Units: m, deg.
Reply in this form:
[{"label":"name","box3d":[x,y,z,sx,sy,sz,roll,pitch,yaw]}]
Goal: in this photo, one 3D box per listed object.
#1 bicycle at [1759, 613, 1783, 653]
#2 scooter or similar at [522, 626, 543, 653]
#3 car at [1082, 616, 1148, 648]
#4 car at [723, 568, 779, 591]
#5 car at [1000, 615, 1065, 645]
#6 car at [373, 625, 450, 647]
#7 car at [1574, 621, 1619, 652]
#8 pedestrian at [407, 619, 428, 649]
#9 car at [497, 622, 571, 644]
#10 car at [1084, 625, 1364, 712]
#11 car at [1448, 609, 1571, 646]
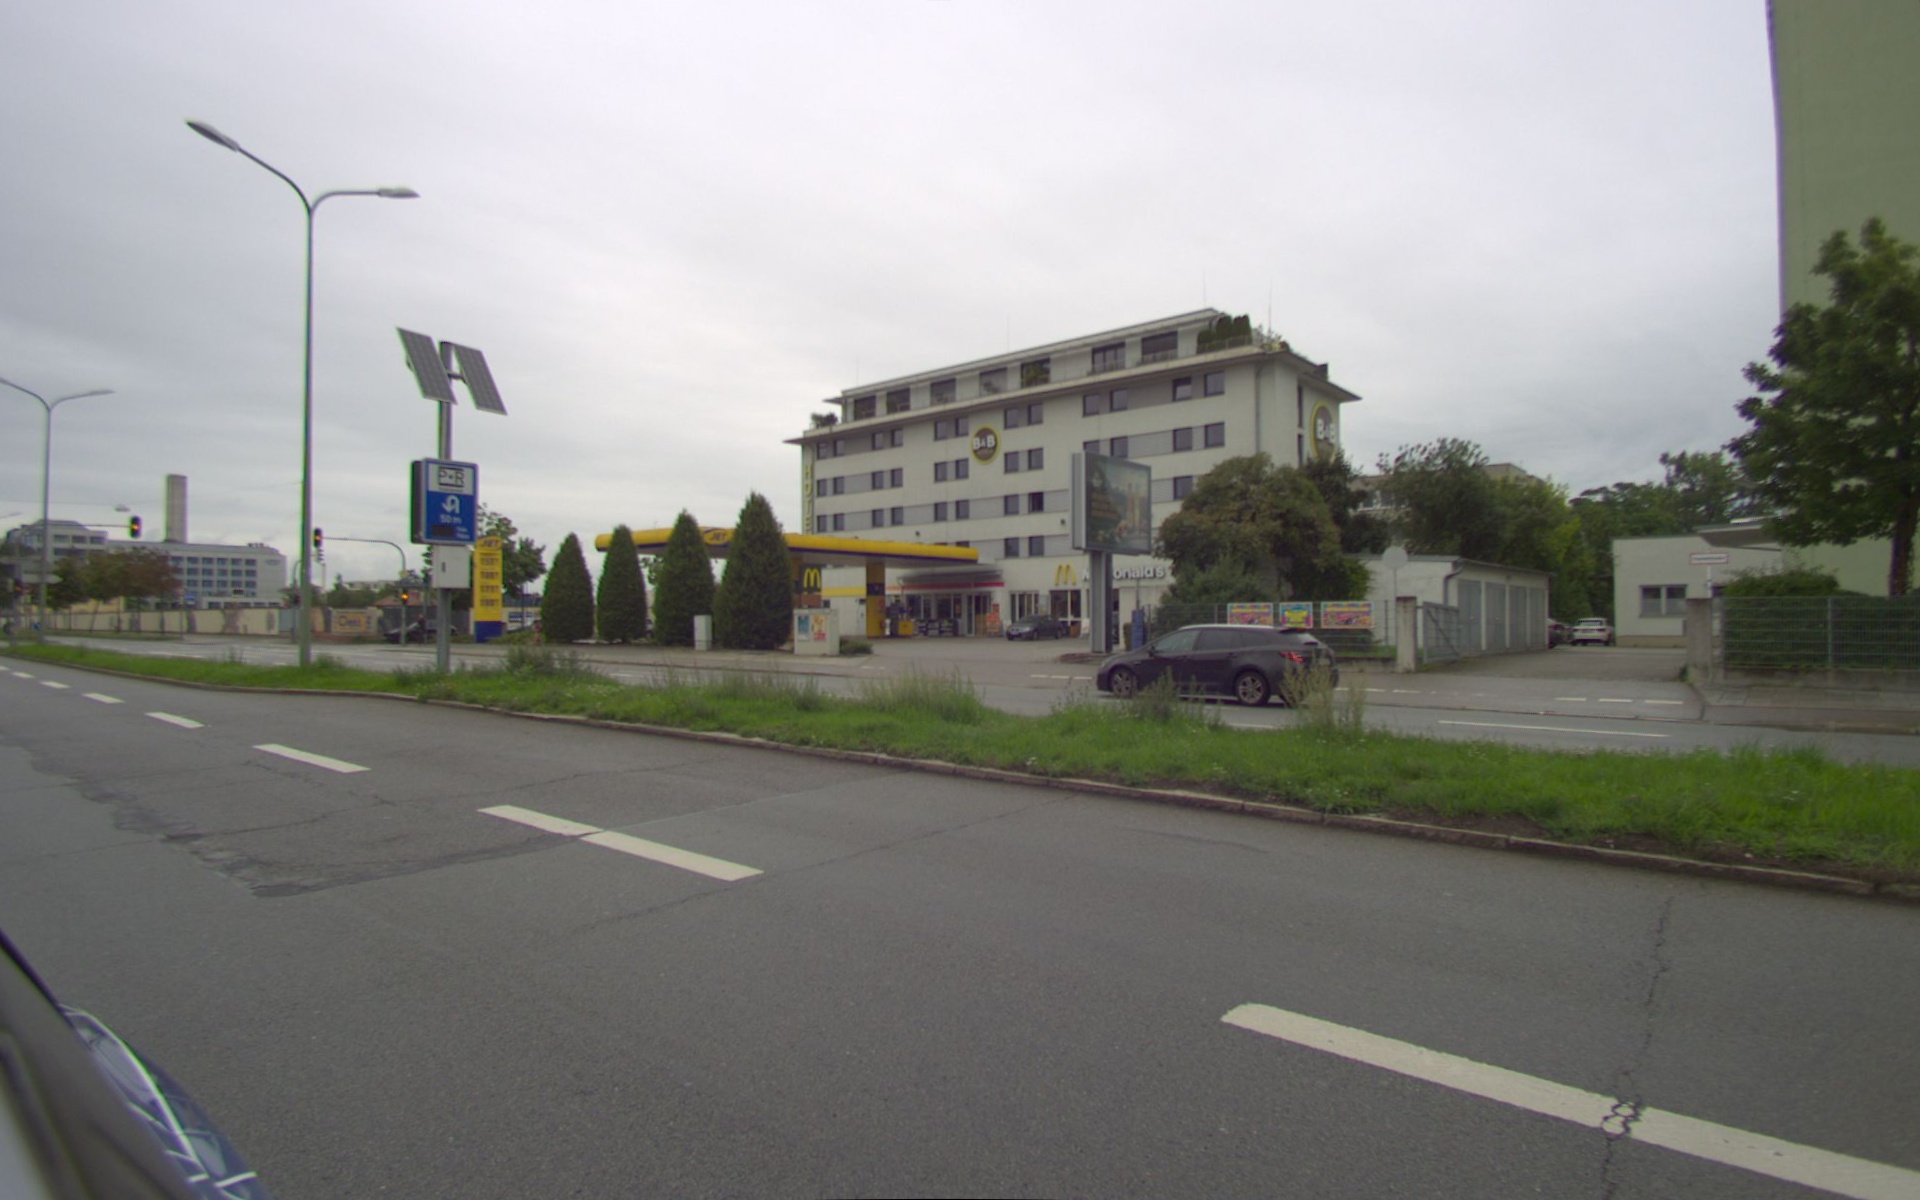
[{"label":"bicycle","box3d":[23.793,0.975,29.693,0.449,1.125,2.090,-2,-3,41]},{"label":"scooter or similar","box3d":[-20.495,1.890,48.548,0.351,1.252,1.546,-2,0,-44]},{"label":"car","box3d":[8.209,1.667,53.262,1.705,1.599,3.948,-1,-2,39]},{"label":"car","box3d":[-15.622,-1.480,75.576,4.190,1.489,1.883,-1,-3,41]},{"label":"car","box3d":[4.077,1.661,56.738,1.705,1.599,3.948,-1,-2,39]},{"label":"car","box3d":[-37.588,2.443,69.406,2.000,1.439,4.203,-2,-2,43]},{"label":"car","box3d":[32.637,1.862,51.842,1.562,1.532,3.659,-1,-3,38]},{"label":"pedestrian","box3d":[-29.731,1.869,55.460,0.687,1.627,0.794,-2,0,40]},{"label":"car","box3d":[-30.861,2.381,73.362,2.000,1.544,4.566,-2,-2,43]},{"label":"car","box3d":[4.778,1.202,18.714,4.650,1.412,1.973,-1,-3,40]},{"label":"car","box3d":[22.144,1.135,40.829,4.092,1.409,1.746,-1,-3,41]}]
